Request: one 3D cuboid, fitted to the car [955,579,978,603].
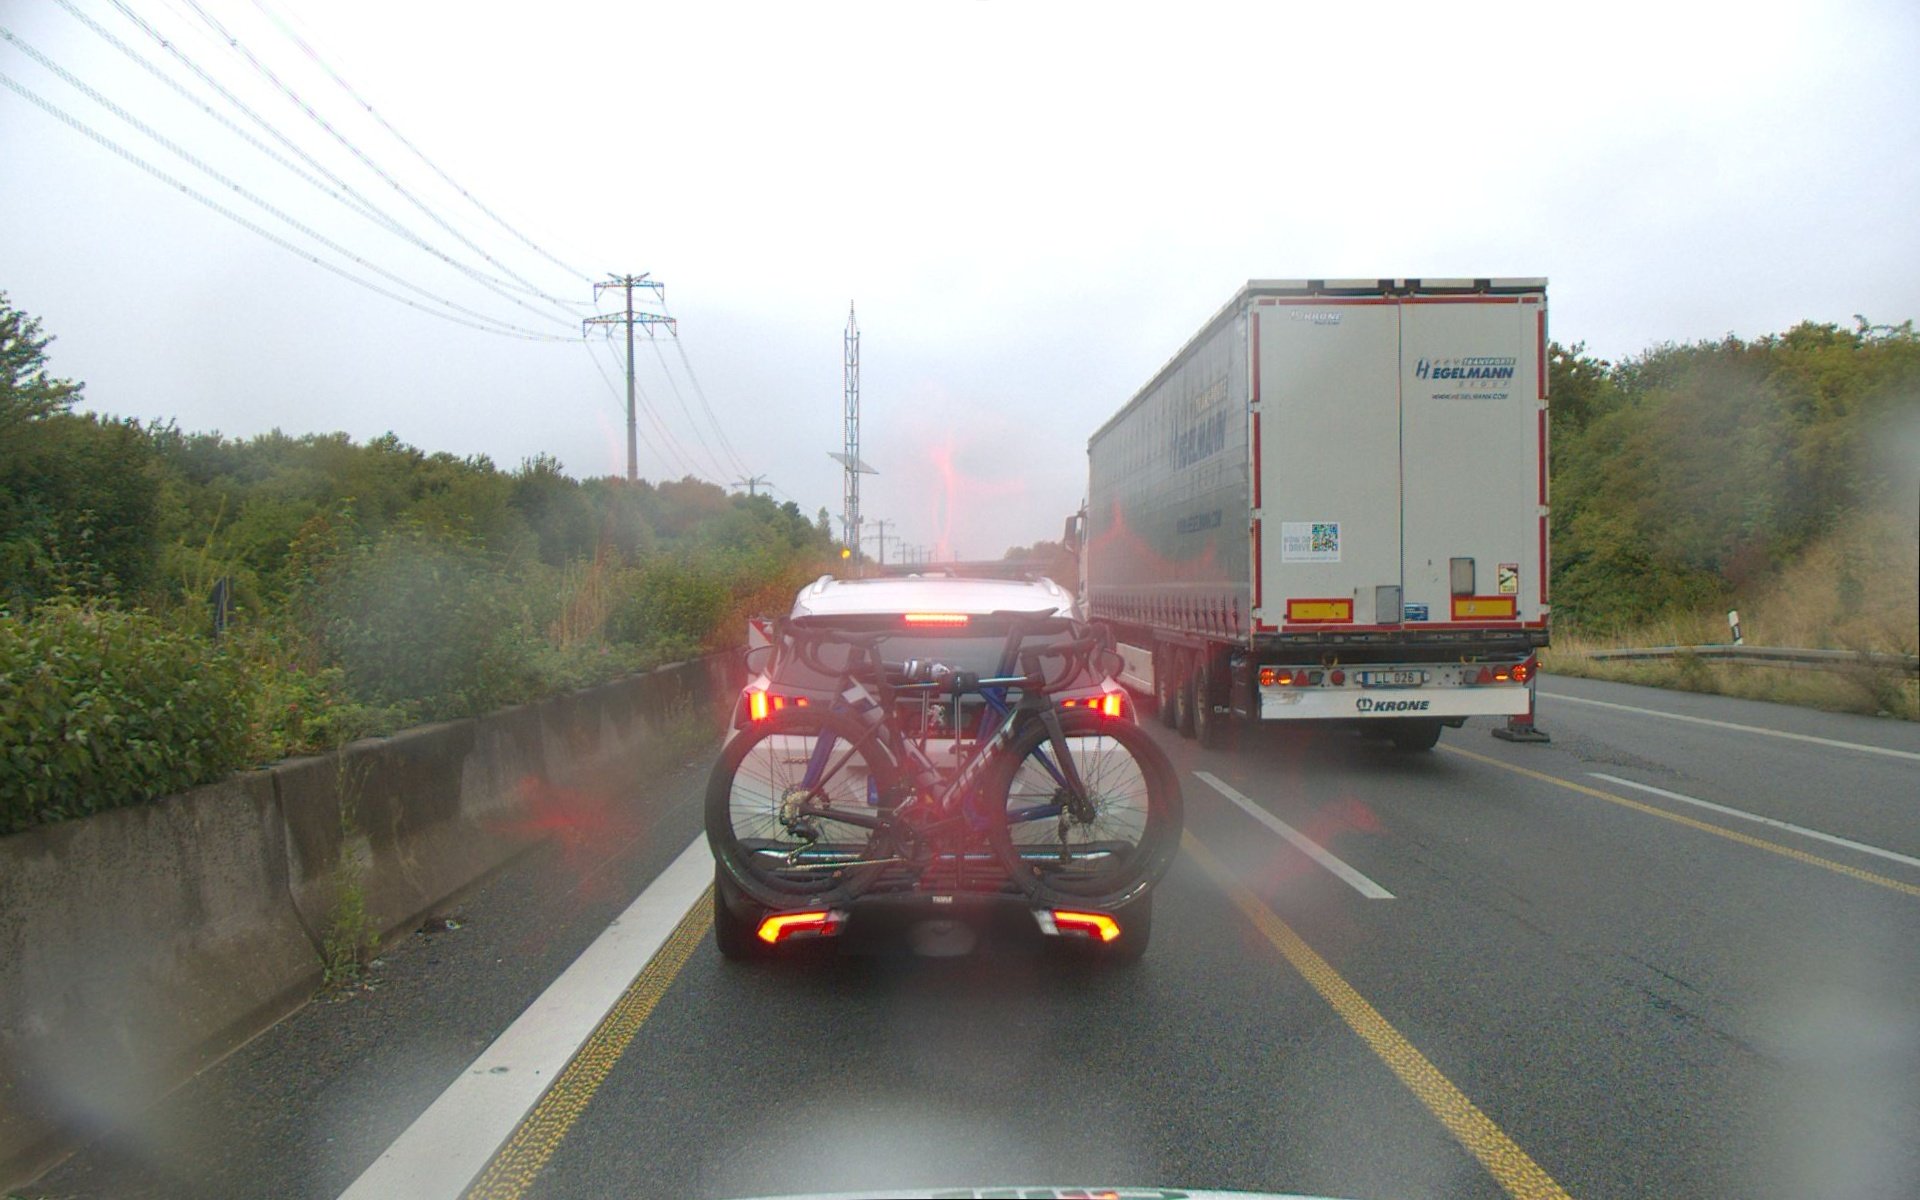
[{"bbox_3d":[0.577,-0.792,141.906,1.892,2.008,4.000,0,1,-1],"label":"car"}]

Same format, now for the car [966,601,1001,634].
[{"bbox_3d":[1.490,1.120,106.860,2.104,2.008,4.000,0,1,-1],"label":"car"}]

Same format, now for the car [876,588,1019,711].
[{"bbox_3d":[-0.185,0.619,22.968,1.812,1.557,3.999,0,0,-1],"label":"car"}]

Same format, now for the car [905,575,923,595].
[{"bbox_3d":[-5.775,-1.967,209.836,2.212,2.467,4.000,0,1,-1],"label":"car"}]

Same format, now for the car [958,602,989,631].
[{"bbox_3d":[0.971,1.171,120.695,2.104,2.008,4.000,0,1,-1],"label":"car"}]

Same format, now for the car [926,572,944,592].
[{"bbox_3d":[-2.681,-1.912,175.194,1.892,2.008,4.000,0,1,-1],"label":"car"}]

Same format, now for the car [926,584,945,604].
[{"bbox_3d":[-2.493,-0.630,169.678,1.892,2.008,4.000,0,1,-1],"label":"car"}]

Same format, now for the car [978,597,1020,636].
[{"bbox_3d":[2.089,0.879,90.645,2.105,2.008,3.999,0,1,-2],"label":"car"}]

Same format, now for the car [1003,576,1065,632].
[{"bbox_3d":[2.763,0.128,62.569,2.067,2.008,4.000,0,1,-1],"label":"car"}]

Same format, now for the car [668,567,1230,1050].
[{"bbox_3d":[-0.065,0.667,7.740,1.812,1.557,4.768,0,0,-1],"label":"car"}]

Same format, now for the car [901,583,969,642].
[{"bbox_3d":[-0.708,0.328,46.516,1.812,1.557,3.999,0,0,-1],"label":"car"}]

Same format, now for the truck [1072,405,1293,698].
[{"bbox_3d":[3.390,-0.706,26.780,2.606,4.148,6.538,0,0,-1],"label":"truck"}]

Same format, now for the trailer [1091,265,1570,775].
[{"bbox_3d":[3.569,-0.678,20.309,2.638,4.148,13.631,0,0,-1],"label":"trailer"}]

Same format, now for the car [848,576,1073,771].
[{"bbox_3d":[-0.023,0.585,15.343,1.812,1.557,3.999,0,0,-1],"label":"car"}]

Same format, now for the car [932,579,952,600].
[{"bbox_3d":[-1.788,-1.055,162.919,1.892,1.944,4.000,0,1,-1],"label":"car"}]

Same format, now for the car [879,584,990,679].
[{"bbox_3d":[-0.447,0.510,29.292,1.812,1.557,3.999,0,0,-1],"label":"car"}]
